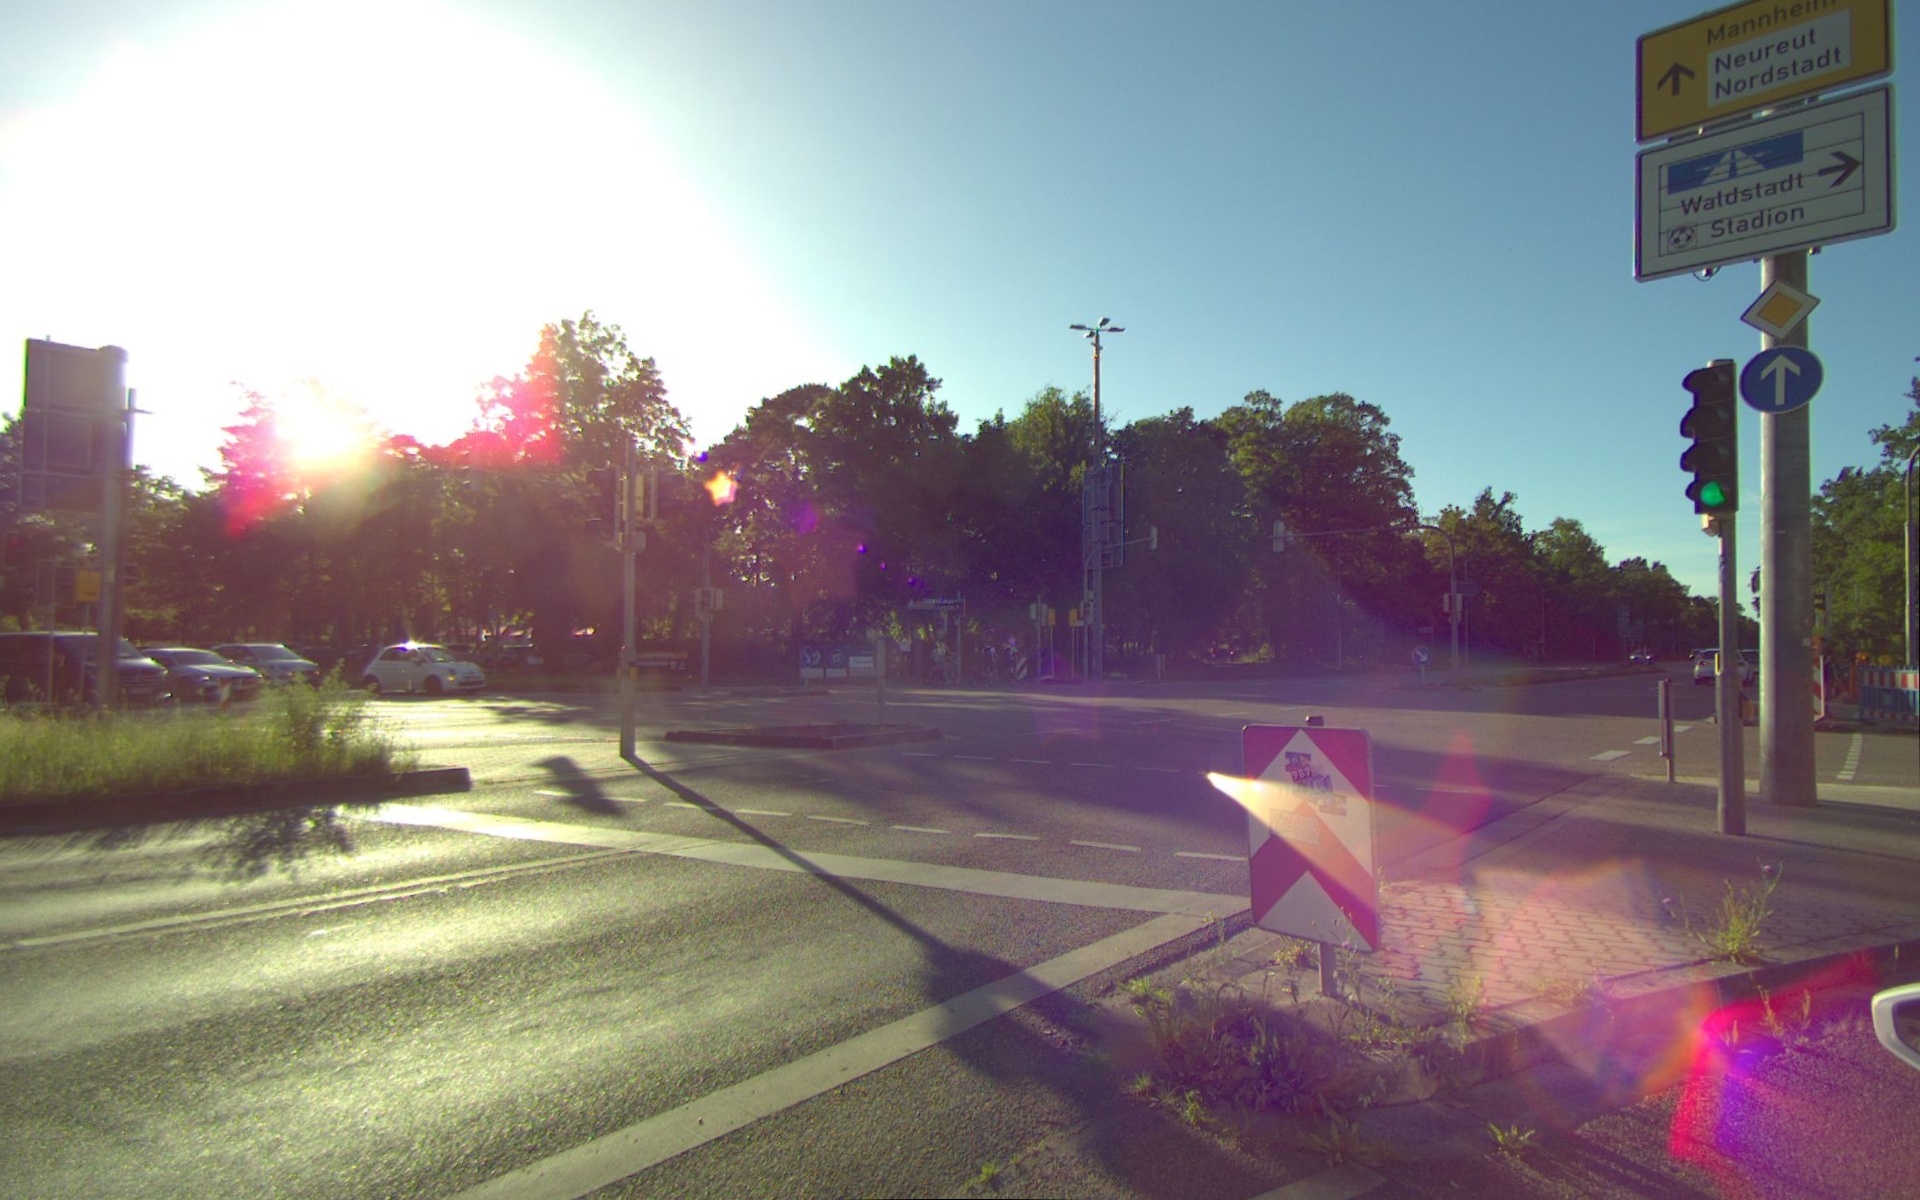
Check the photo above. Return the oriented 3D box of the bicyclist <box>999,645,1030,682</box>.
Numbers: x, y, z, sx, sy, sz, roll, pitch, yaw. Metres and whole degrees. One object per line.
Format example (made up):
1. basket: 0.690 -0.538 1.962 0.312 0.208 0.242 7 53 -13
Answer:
1. bicyclist: 2.093 2.425 38.440 0.984 1.359 0.708 3 -3 -44

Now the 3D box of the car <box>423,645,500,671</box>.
1. car: -31.863 3.674 64.298 1.782 1.620 4.143 -1 -3 30

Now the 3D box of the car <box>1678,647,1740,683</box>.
1. car: 31.312 2.693 41.946 1.917 1.433 3.983 -2 -3 39

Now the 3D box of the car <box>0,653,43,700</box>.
1. car: -30.700 2.333 31.030 3.724 1.407 1.855 -1 -3 18

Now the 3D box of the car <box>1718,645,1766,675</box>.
1. car: 42.370 3.224 54.376 1.970 1.556 3.983 -2 -3 39

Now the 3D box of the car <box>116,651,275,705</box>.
1. car: -21.283 2.139 27.986 3.724 1.407 1.649 -1 -3 18

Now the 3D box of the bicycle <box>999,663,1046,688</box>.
1. bicycle: 2.418 2.887 38.740 1.898 0.926 0.708 3 -3 -44

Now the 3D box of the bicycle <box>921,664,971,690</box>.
1. bicycle: -0.500 2.857 37.513 1.898 0.926 0.708 3 -3 -44

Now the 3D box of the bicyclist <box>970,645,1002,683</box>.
1. bicyclist: 0.958 2.375 37.275 0.984 1.373 0.708 3 -3 -44

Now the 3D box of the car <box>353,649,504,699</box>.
1. car: -15.872 2.182 30.070 3.724 1.407 1.929 -1 -3 18

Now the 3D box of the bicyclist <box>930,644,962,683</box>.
1. bicyclist: -0.524 2.368 37.510 0.984 1.408 0.704 3 -3 -44

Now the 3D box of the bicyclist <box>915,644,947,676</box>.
1. bicyclist: -1.091 2.277 38.219 0.984 1.208 0.708 3 -3 -44

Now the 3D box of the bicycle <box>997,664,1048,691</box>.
1. bicycle: 2.243 2.755 35.913 1.898 0.926 0.708 3 -3 -44

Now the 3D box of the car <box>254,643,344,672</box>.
1. car: -39.132 3.405 59.541 1.907 1.640 3.996 -1 -3 27

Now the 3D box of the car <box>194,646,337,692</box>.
1. car: -22.212 2.181 32.147 3.724 1.407 1.855 -1 -3 18

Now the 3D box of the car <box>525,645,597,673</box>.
1. car: -24.691 3.621 62.248 1.778 1.620 4.197 -1 -3 20

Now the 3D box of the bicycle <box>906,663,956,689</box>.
1. bicycle: -1.093 2.877 38.195 1.898 0.926 0.708 2 -3 -44

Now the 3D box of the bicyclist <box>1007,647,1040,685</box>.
1. bicyclist: 2.289 2.359 35.967 0.984 1.356 0.708 3 -3 -44

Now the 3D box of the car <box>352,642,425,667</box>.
1. car: -38.794 3.710 68.259 1.782 1.620 3.964 -1 -3 30

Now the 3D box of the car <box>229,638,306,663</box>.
1. car: -47.773 3.481 69.364 1.782 1.620 3.964 -1 -3 30

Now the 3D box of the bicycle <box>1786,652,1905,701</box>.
1. bicycle: 27.023 2.321 30.713 2.586 1.401 0.969 1 -1 11

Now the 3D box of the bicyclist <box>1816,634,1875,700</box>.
1. bicyclist: 27.063 2.037 30.720 0.995 1.955 0.969 1 -1 11

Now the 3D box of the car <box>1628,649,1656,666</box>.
1. car: 73.922 6.214 108.900 1.971 1.812 4.228 -2 -3 41

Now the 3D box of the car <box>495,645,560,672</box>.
1. car: -27.105 3.634 62.995 1.779 1.620 3.502 -1 -3 21

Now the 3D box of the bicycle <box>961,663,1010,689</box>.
1. bicycle: 0.957 2.815 37.262 1.898 0.926 0.708 3 -3 -44

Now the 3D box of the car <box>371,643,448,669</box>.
1. car: -35.445 3.595 64.765 1.782 1.620 3.964 -1 -3 30

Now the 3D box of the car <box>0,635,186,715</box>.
1. car: -21.907 1.804 24.865 4.835 1.853 1.929 -1 -3 18
